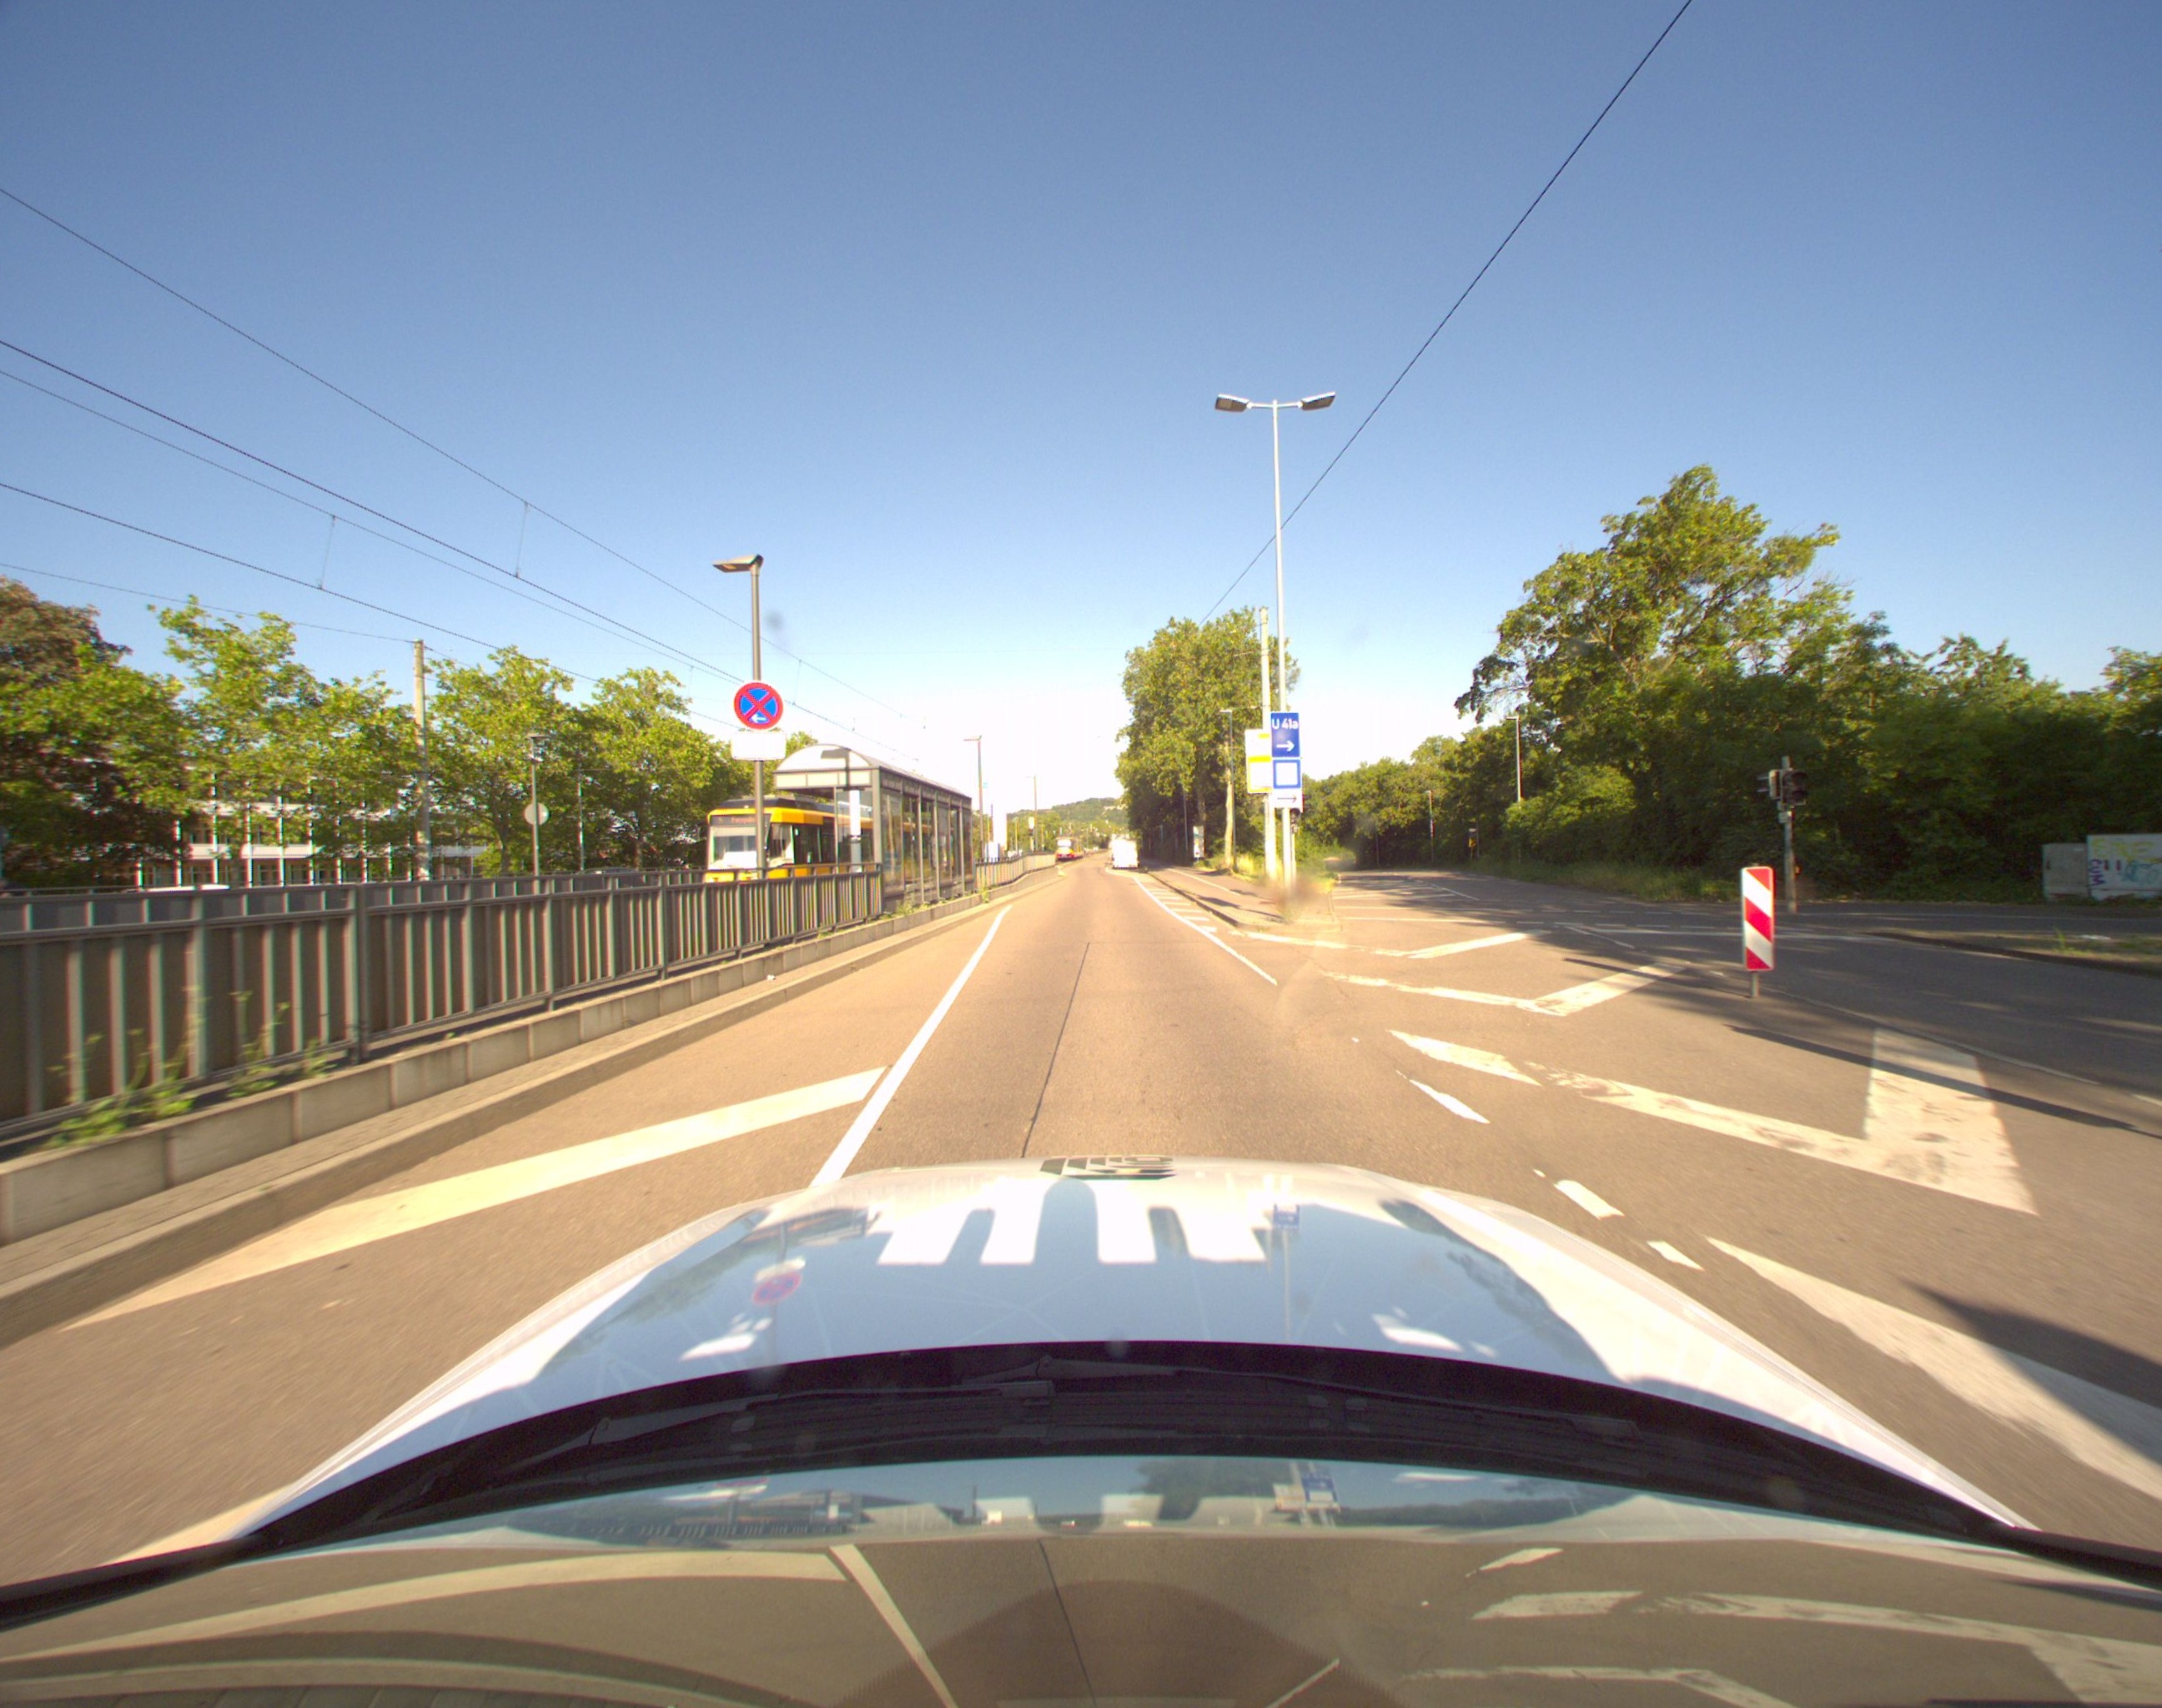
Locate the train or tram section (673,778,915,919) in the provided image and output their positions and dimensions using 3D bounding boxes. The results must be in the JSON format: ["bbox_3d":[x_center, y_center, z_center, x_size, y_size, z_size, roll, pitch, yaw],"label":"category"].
[{"bbox_3d":[-9.876,-0.165,31.335,2.815,4.006,15.889,-1,0,3],"label":"train or tram section"}]

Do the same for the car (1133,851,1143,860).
[{"bbox_3d":[9.470,0.205,134.586,1.646,1.437,3.781,-1,0,4],"label":"car"}]

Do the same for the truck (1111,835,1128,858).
[{"bbox_3d":[6.476,-1.295,138.617,2.706,3.783,9.766,0,0,2],"label":"truck"}]

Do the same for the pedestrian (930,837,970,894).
[{"bbox_3d":[-3.507,0.300,21.792,0.752,1.493,0.699,-1,0,36],"label":"pedestrian"}]

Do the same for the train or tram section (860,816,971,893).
[{"bbox_3d":[-8.876,0.025,45.804,2.815,3.687,12.980,-1,0,3],"label":"train or tram section"}]

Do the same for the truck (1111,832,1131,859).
[{"bbox_3d":[5.838,-1.218,119.650,2.731,3.783,10.094,0,0,2],"label":"truck"}]

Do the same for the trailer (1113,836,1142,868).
[{"bbox_3d":[4.128,-0.171,71.768,2.240,2.694,5.956,-1,0,5],"label":"trailer"}]

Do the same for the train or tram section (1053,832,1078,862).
[{"bbox_3d":[-2.214,-0.986,120.857,2.710,4.091,13.625,-3,0,3],"label":"train or tram section"}]

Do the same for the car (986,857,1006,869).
[{"bbox_3d":[-11.570,1.213,111.343,1.985,1.561,4.547,-1,0,3],"label":"car"}]
